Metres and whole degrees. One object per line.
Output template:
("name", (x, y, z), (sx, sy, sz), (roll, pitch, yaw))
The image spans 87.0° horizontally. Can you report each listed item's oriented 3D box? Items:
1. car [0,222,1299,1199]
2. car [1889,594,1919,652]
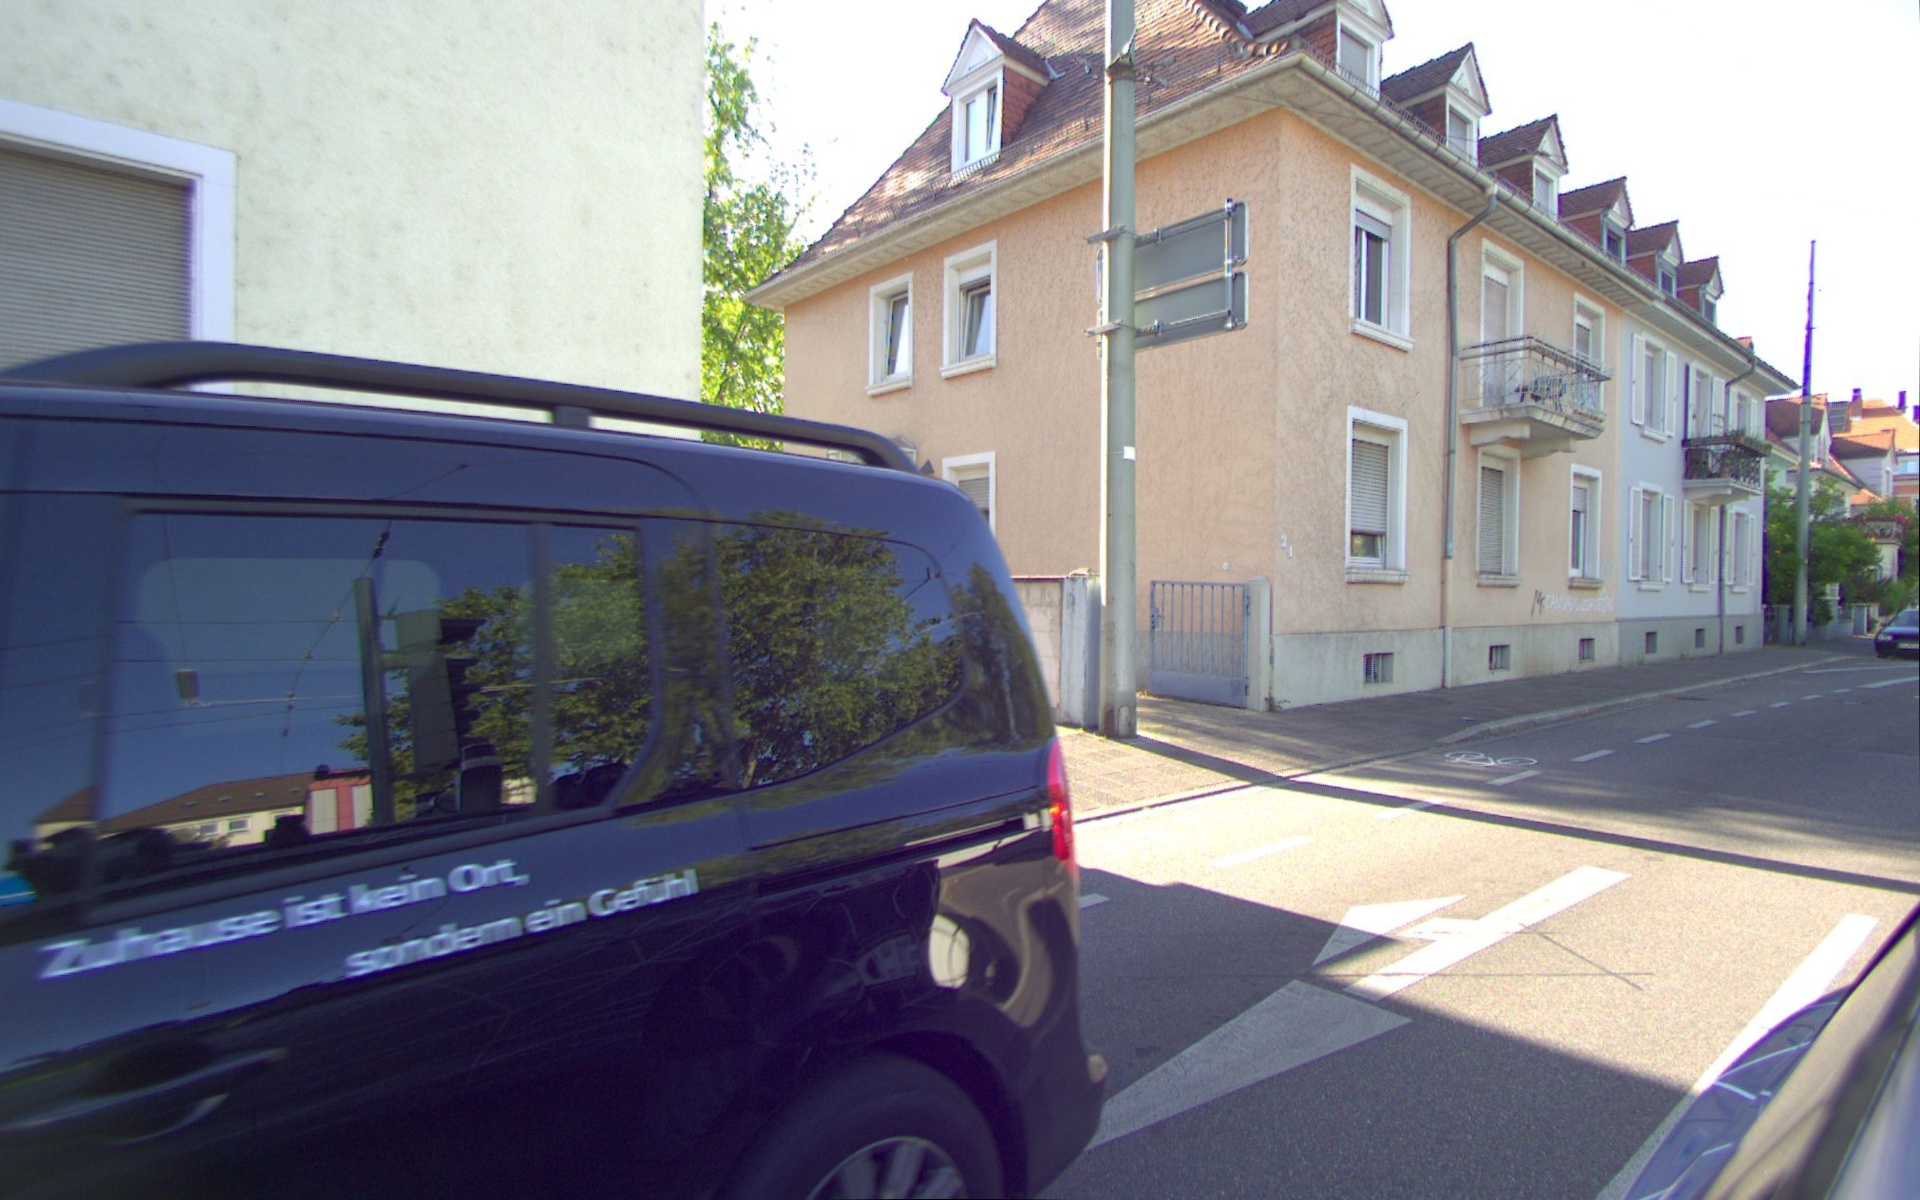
("car", (-1.515, 0.535, 1.745), (4.695, 1.827, 1.864), (-1, 0, -41))
("car", (26.612, 0.596, 27.317), (3.930, 1.476, 1.839), (-1, 0, -41))
